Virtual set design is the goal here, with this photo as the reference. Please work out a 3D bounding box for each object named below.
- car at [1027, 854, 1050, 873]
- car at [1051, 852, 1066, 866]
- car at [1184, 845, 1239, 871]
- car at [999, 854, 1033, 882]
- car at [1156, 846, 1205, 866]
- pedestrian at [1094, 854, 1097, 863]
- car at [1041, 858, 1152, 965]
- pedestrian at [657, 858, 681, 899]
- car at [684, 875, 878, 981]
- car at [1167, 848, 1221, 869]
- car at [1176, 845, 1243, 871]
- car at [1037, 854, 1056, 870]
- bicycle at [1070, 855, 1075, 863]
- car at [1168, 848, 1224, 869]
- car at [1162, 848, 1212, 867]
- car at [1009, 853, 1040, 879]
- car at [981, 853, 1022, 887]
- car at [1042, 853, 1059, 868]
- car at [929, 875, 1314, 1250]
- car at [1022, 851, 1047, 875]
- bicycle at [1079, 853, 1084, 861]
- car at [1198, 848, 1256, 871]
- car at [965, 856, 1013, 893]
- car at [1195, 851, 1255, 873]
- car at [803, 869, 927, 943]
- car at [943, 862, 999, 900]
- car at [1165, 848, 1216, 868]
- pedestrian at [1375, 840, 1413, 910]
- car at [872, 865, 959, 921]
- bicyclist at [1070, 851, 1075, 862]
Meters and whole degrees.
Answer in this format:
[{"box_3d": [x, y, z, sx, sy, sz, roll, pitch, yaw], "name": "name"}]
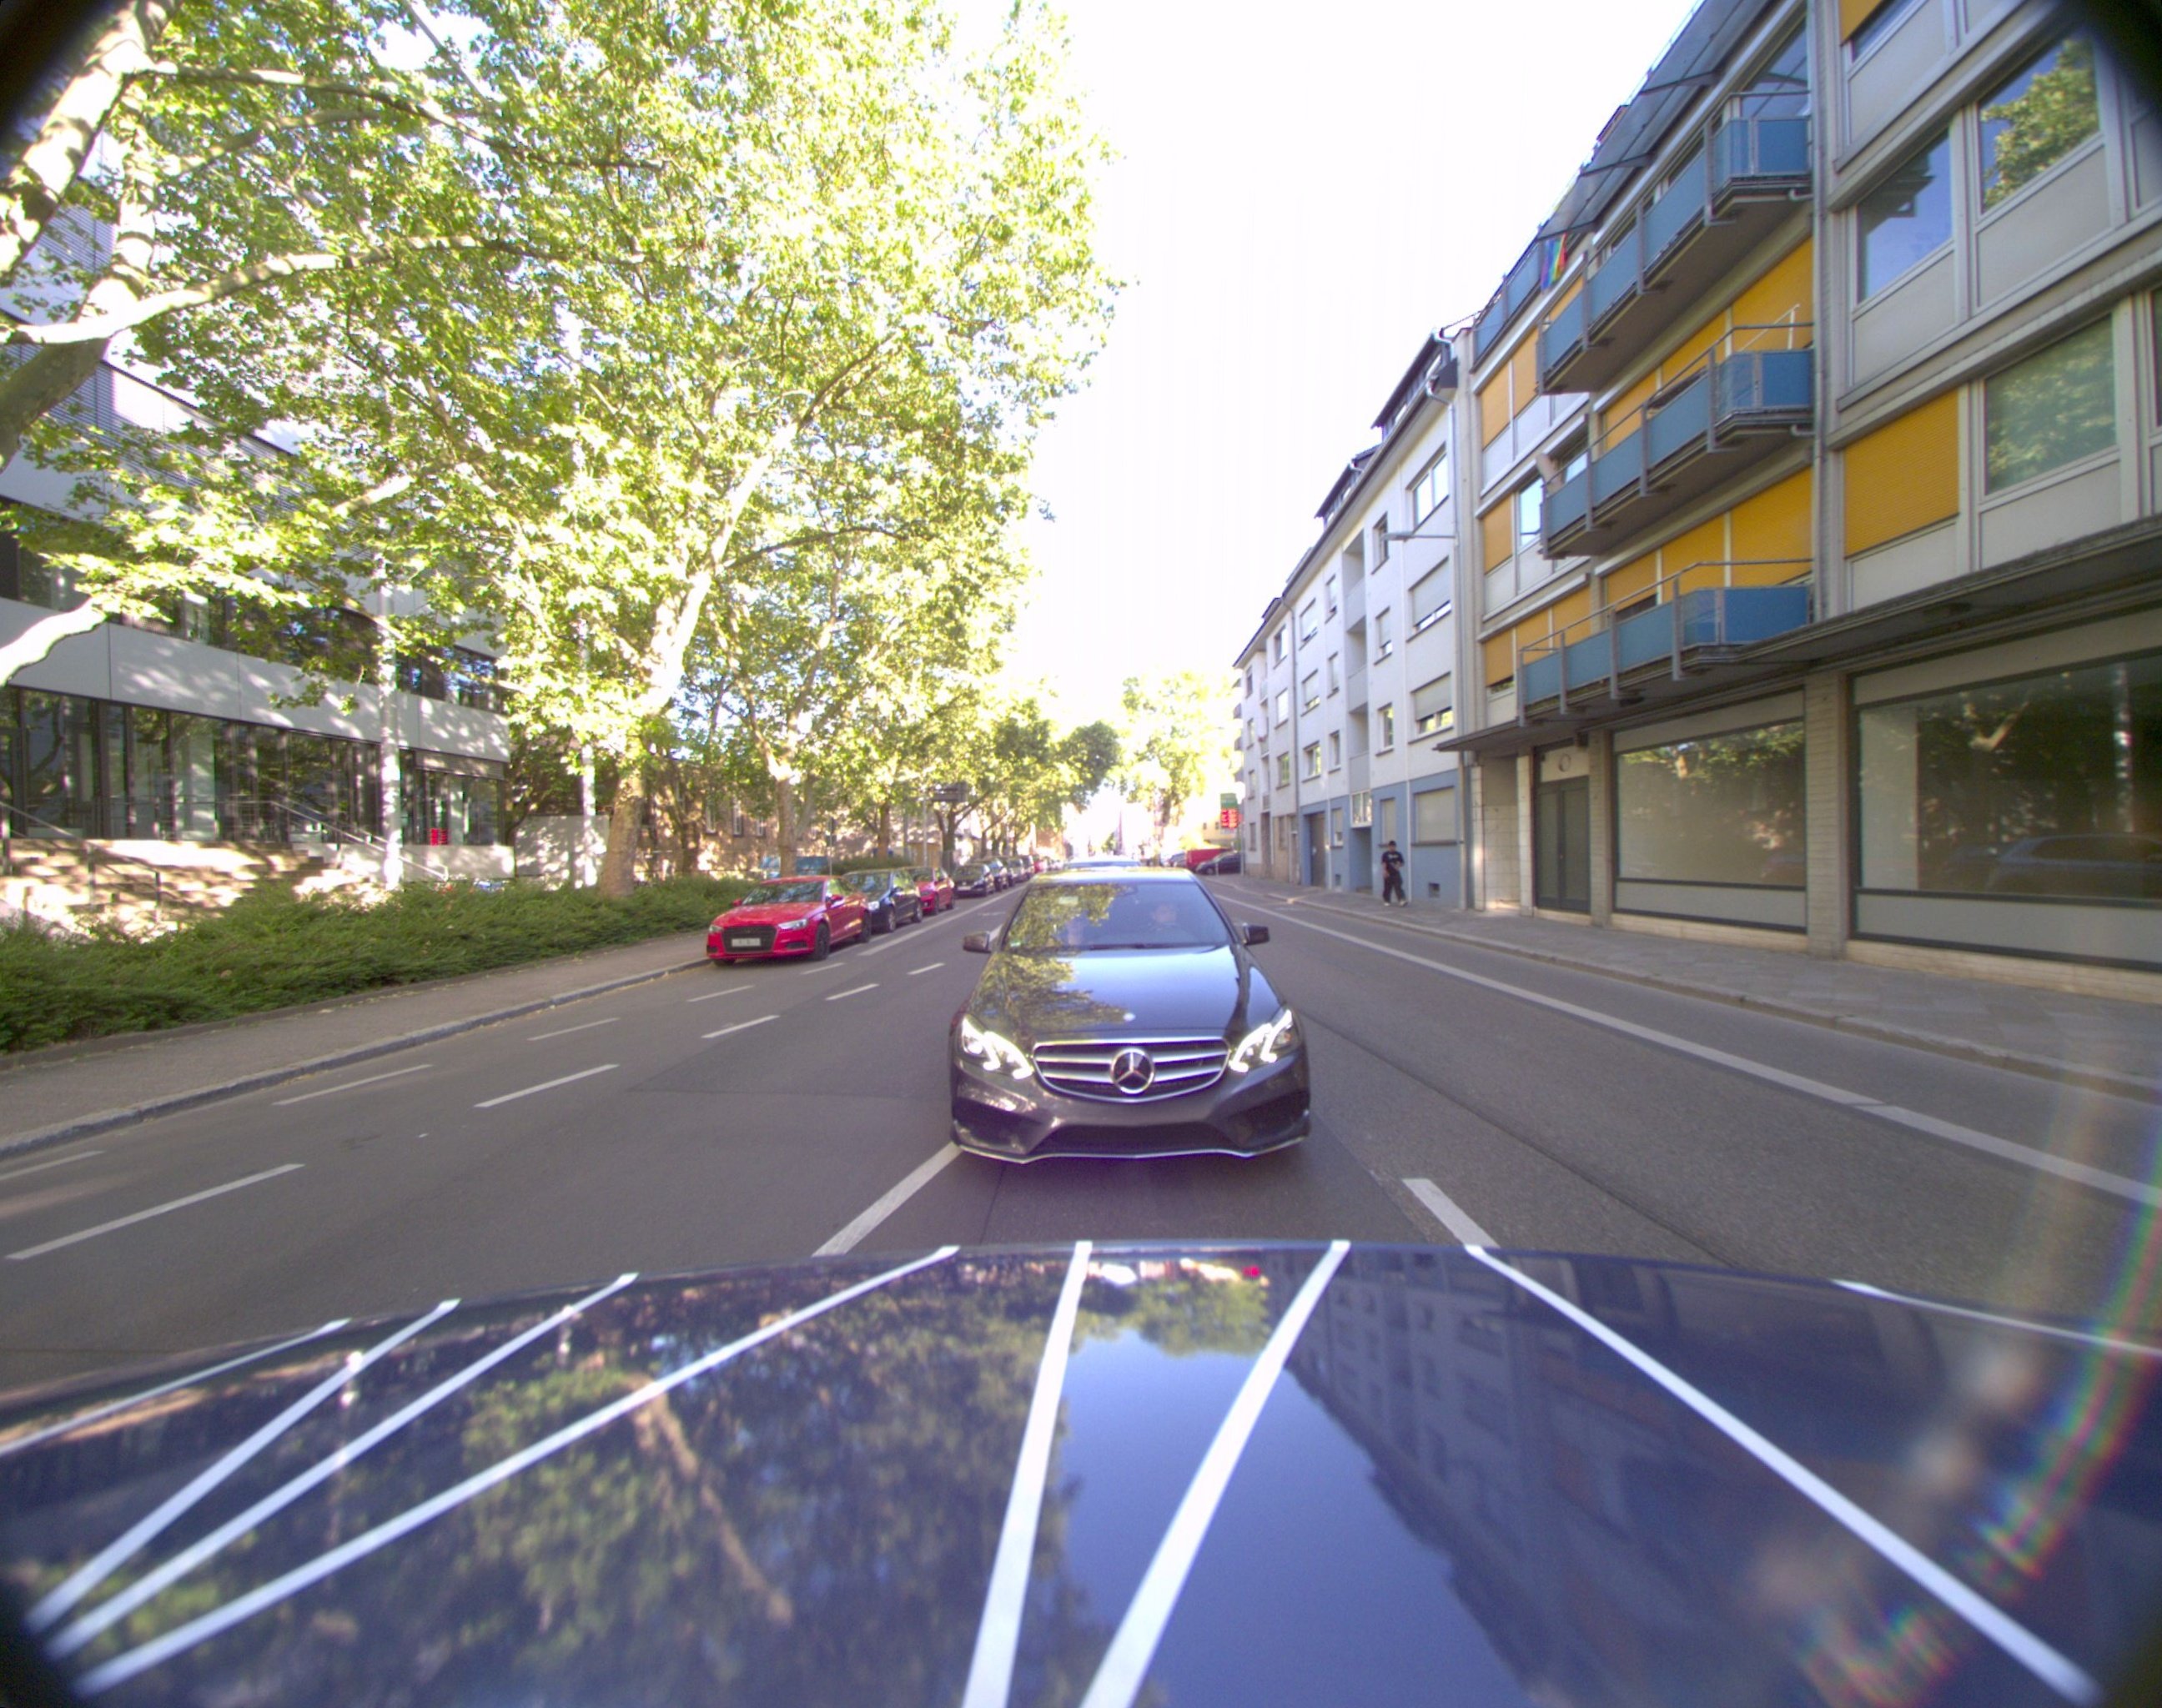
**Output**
[{"box_3d": [-4.013, 0.903, 72.180, 1.755, 1.652, 4.447, -3, 0, 1], "name": "car"}, {"box_3d": [-3.028, 0.650, 103.208, 1.755, 1.652, 4.447, -3, 0, 1], "name": "car"}, {"box_3d": [10.322, 0.301, 60.087, 3.997, 1.926, 1.867, -2, 0, 1], "name": "car"}, {"box_3d": [-4.281, 0.880, 50.949, 1.755, 1.718, 4.447, -3, 0, 1], "name": "car"}, {"box_3d": [11.178, 0.202, 85.527, 5.143, 2.135, 2.187, -2, 0, 1], "name": "car"}, {"box_3d": [3.402, 1.061, 173.317, 0.616, 2.002, 0.691, -2, 1, 1], "name": "pedestrian"}, {"box_3d": [0.266, 0.887, 13.615, 1.667, 1.563, 4.000, -1, 0, 1], "name": "car"}, {"box_3d": [-17.023, 1.017, 31.426, 0.525, 1.660, 0.661, -2, 1, 2], "name": "pedestrian"}, {"box_3d": [-5.113, 1.181, 13.602, 1.755, 1.400, 4.000, -3, 0, 1], "name": "car"}, {"box_3d": [11.261, 0.406, 76.228, 5.054, 1.926, 2.161, -2, 0, 1], "name": "car"}, {"box_3d": [10.627, 0.295, 63.112, 5.223, 1.969, 2.257, -2, 0, 1], "name": "car"}, {"box_3d": [-3.787, 0.870, 83.519, 1.755, 1.652, 4.447, -3, 0, 1], "name": "car"}, {"box_3d": [-1.135, 0.701, 102.201, 0.650, 1.053, 1.595, -2, 0, 1], "name": "bicycle"}, {"box_3d": [11.089, 0.445, 73.527, 5.143, 1.926, 2.187, -2, 0, 1], "name": "car"}, {"box_3d": [11.311, 0.349, 81.191, 5.042, 1.926, 2.315, -2, 0, 1], "name": "car"}, {"box_3d": [-4.111, 0.822, 55.760, 1.755, 1.753, 4.447, -3, 0, 1], "name": "car"}, {"box_3d": [-4.561, 0.871, 44.067, 1.755, 1.810, 4.447, -3, 0, 1], "name": "car"}, {"box_3d": [-3.659, 0.773, 93.009, 1.755, 1.652, 4.447, -3, 0, 1], "name": "car"}, {"box_3d": [0.208, 0.983, 5.362, 1.667, 1.499, 4.000, -1, 0, 1], "name": "car"}, {"box_3d": [-4.006, 0.729, 66.394, 1.755, 1.941, 4.447, -3, 0, 1], "name": "car"}, {"box_3d": [0.080, 0.451, 102.117, 0.574, 1.053, 1.595, -2, 0, 1], "name": "bicycle"}, {"box_3d": [10.904, 0.392, 56.997, 3.997, 1.552, 1.743, -2, 0, 1], "name": "car"}, {"box_3d": [-4.570, 0.976, 38.268, 1.755, 1.644, 4.174, -3, 0, 1], "name": "car"}, {"box_3d": [10.348, 0.563, 54.787, 3.997, 1.412, 1.743, -2, 0, 1], "name": "car"}, {"box_3d": [-5.090, 1.172, 18.448, 1.755, 1.424, 3.909, -3, 0, 1], "name": "car"}, {"box_3d": [-4.756, 1.118, 33.298, 1.755, 1.424, 3.909, -3, 0, 1], "name": "car"}, {"box_3d": [11.276, 0.374, 78.726, 4.991, 1.926, 2.083, -2, 0, 1], "name": "car"}, {"box_3d": [8.084, 0.525, 19.661, 0.663, 1.761, 0.793, -2, 1, 5], "name": "pedestrian"}, {"box_3d": [-5.040, 1.146, 23.660, 1.755, 1.459, 3.909, -3, 0, 1], "name": "car"}, {"box_3d": [-1.142, 0.330, 102.301, 0.650, 1.427, 0.741, -2, 1, 1], "name": "bicyclist"}]
